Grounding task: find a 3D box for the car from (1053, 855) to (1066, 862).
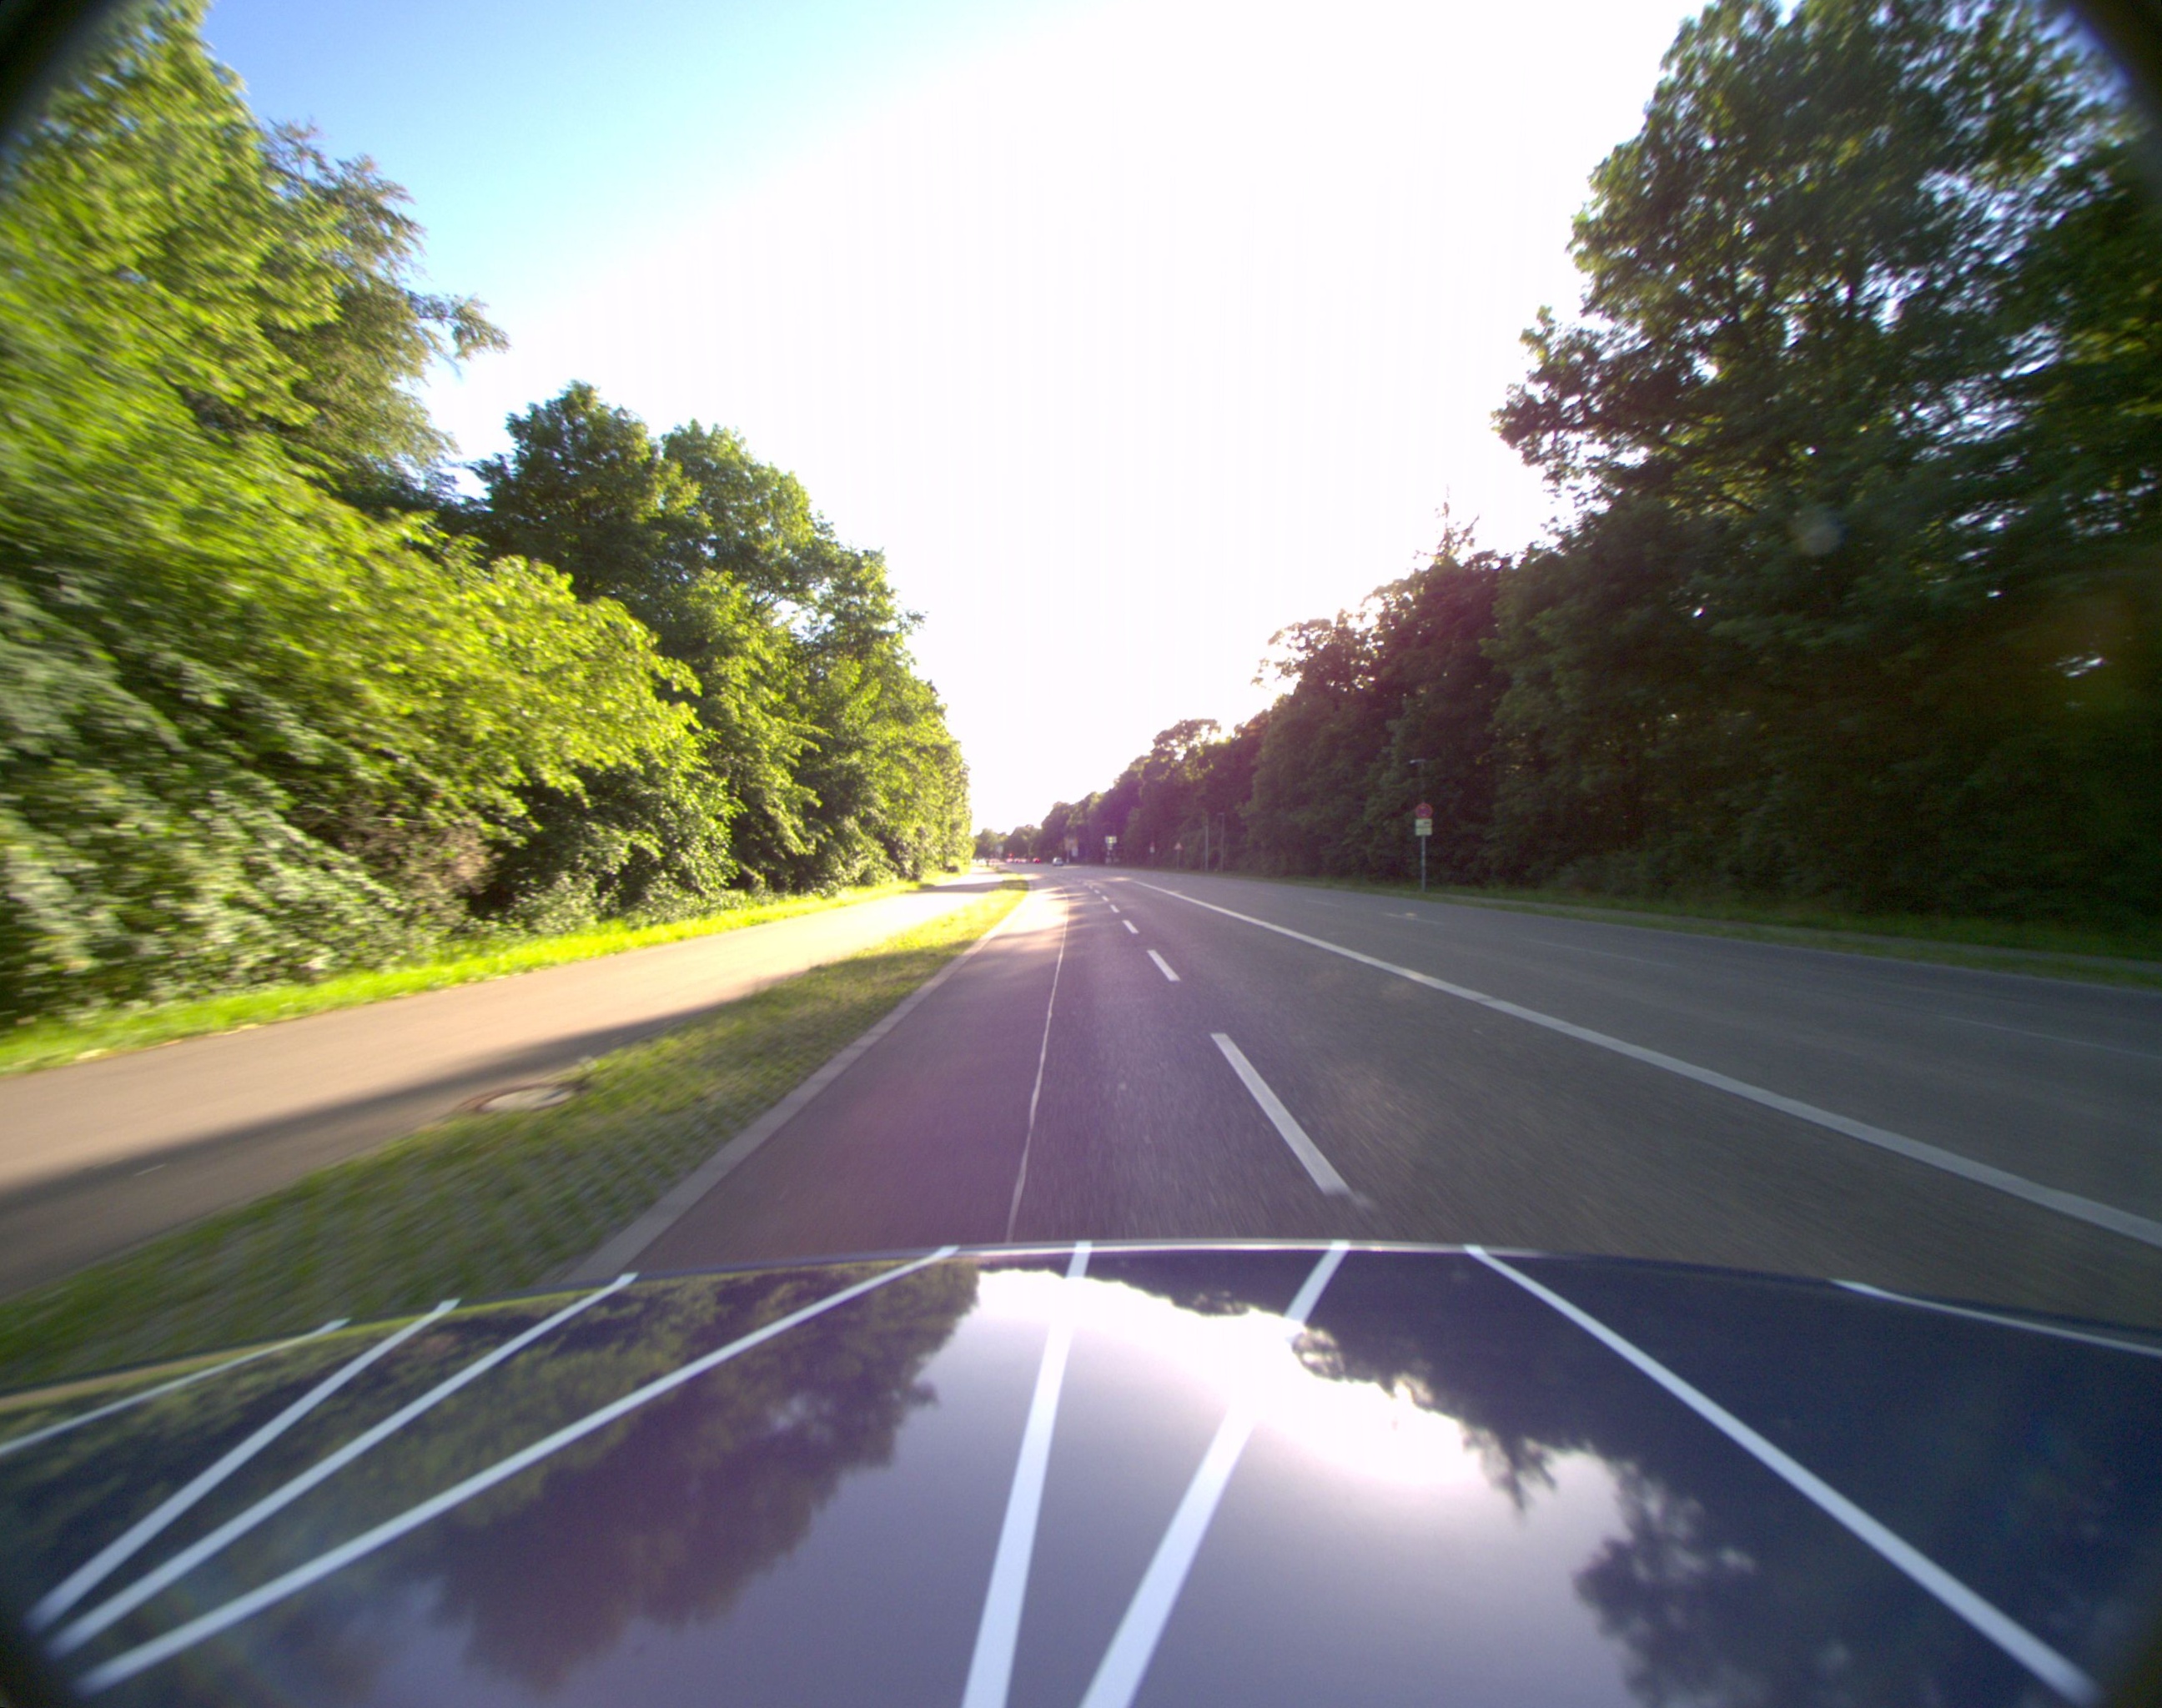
[{"bbox_3d":[-4.405,0.971,155.446,1.745,1.449,3.995,-3,0,-13],"label":"car"}]
